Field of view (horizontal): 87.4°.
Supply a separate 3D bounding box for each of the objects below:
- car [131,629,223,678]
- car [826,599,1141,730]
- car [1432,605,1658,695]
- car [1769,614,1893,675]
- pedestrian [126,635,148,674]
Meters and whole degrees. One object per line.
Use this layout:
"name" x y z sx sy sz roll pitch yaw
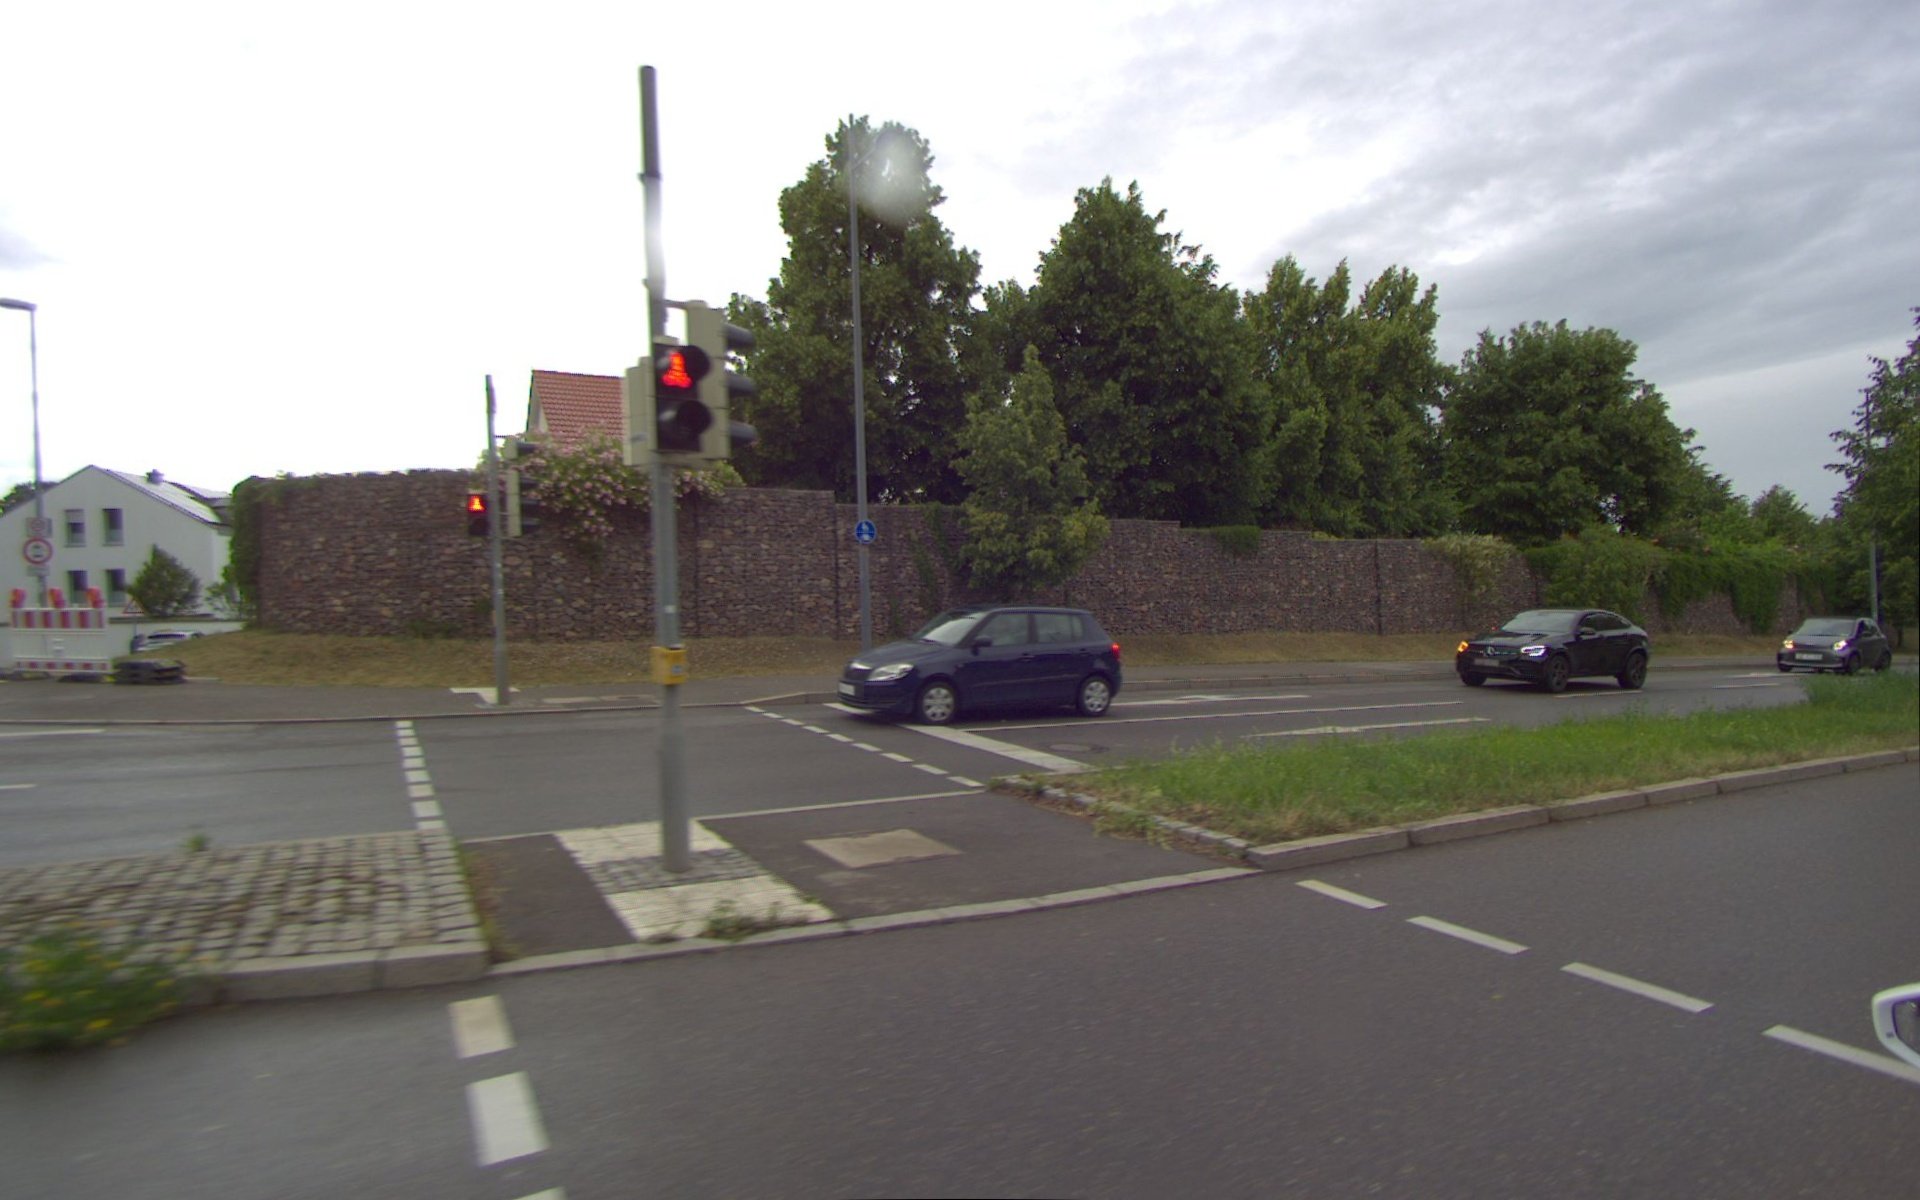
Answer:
"car" -30.343 2.015 39.058 1.868 1.725 3.977 -1 -1 -24
"car" 0.360 0.782 13.341 3.954 1.509 1.590 1 0 -31
"car" 11.924 0.968 20.397 4.710 1.616 1.872 1 0 -30
"car" 23.968 1.184 27.643 2.880 1.560 1.679 0 0 -29
"pedestrian" -31.418 2.080 38.363 0.541 1.458 0.478 1 0 -28
